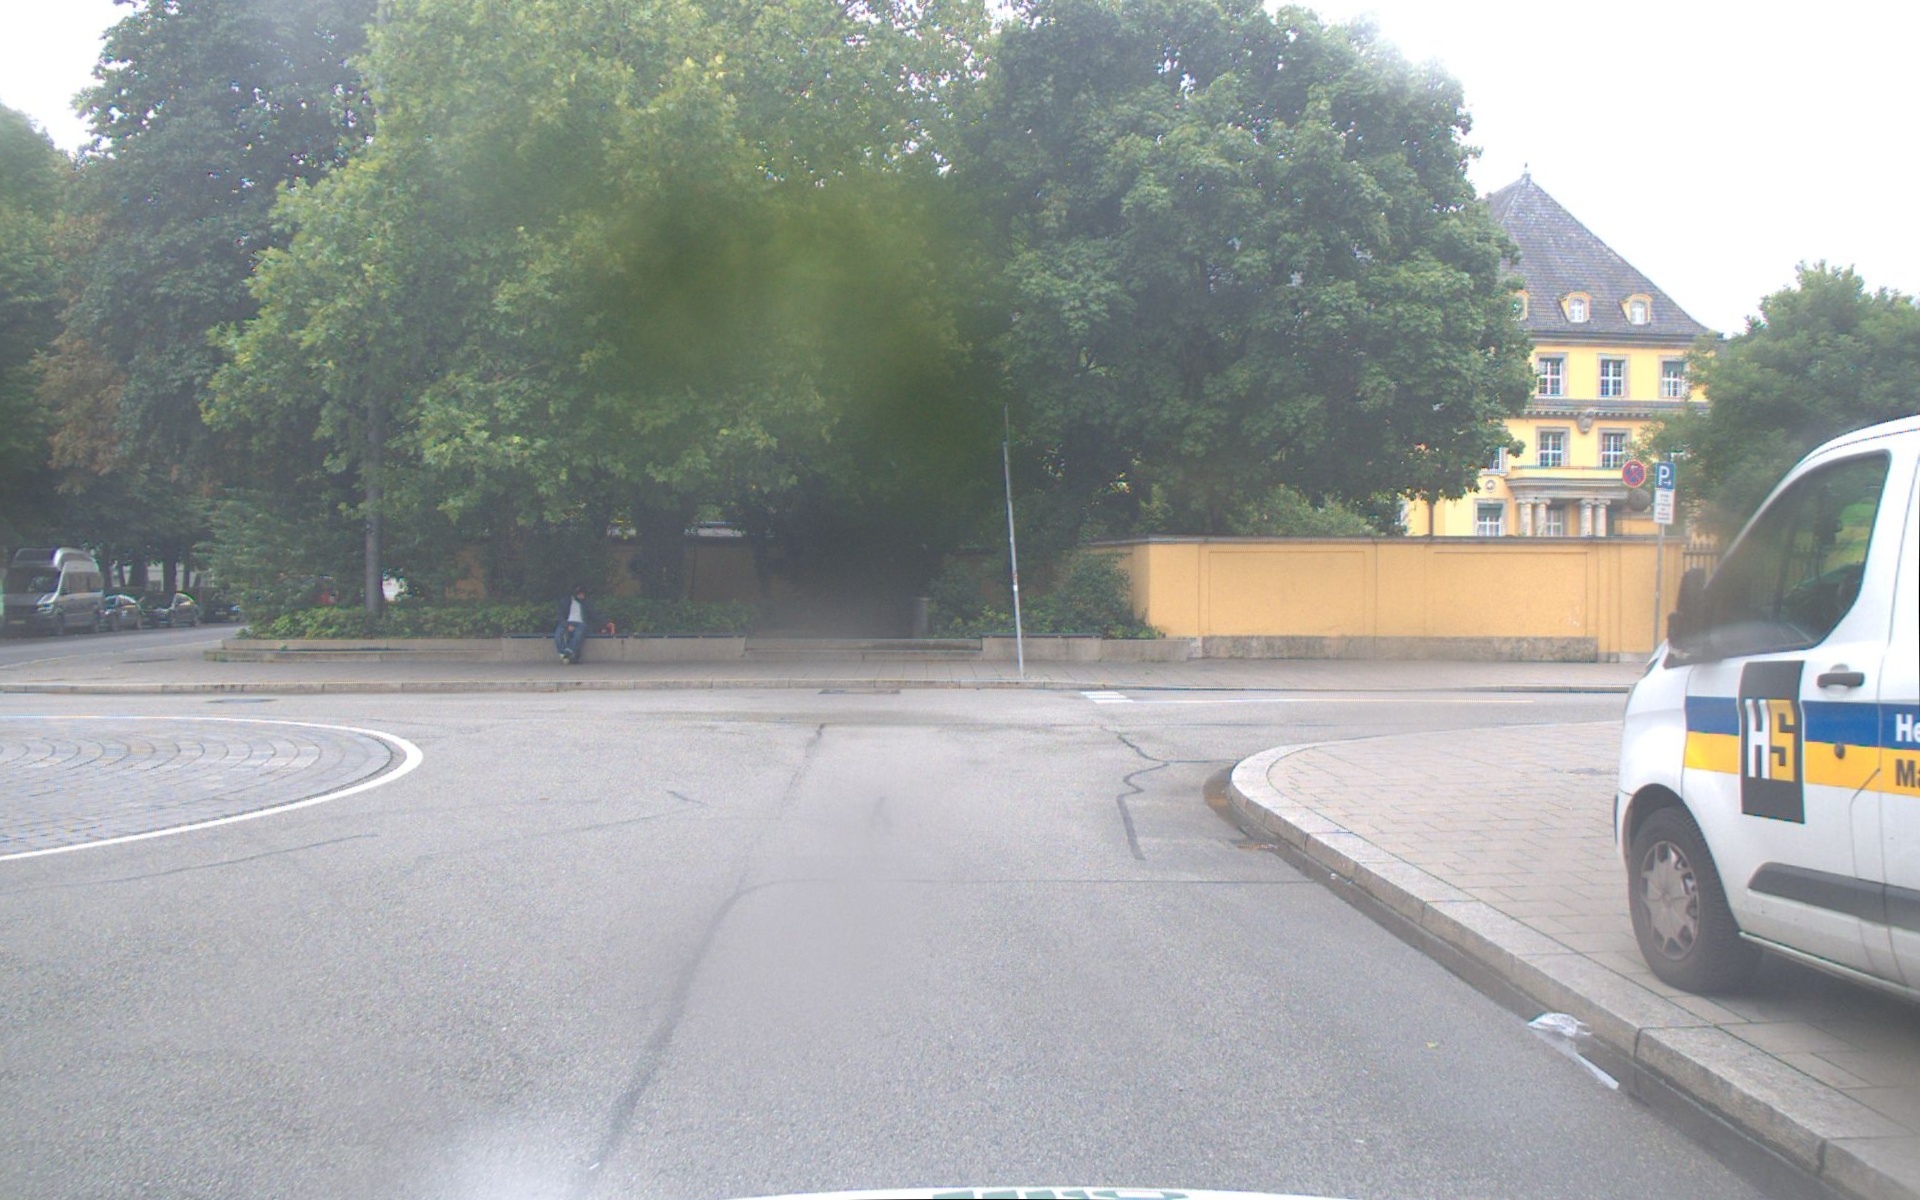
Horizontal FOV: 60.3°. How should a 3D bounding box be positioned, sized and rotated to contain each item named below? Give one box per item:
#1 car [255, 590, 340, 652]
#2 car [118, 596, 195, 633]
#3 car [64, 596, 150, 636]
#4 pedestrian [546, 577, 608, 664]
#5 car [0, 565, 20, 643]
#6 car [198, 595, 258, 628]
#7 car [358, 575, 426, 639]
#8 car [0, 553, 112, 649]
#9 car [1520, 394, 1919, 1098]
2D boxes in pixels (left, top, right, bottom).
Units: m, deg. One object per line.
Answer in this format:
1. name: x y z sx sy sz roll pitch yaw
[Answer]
1. car: -22.127 0.646 55.421 1.878 1.971 4.953 0 0 -13
2. car: -32.705 0.560 67.431 1.960 1.445 4.115 0 0 -14
3. car: -31.878 0.567 61.949 1.960 1.445 3.986 0 0 -14
4. pedestrian: -6.187 0.320 26.770 0.753 1.380 1.131 0 0 -2
5. car: -29.261 0.159 47.560 2.046 2.304 5.589 -2 1 -10
6. car: -35.652 0.532 80.628 1.960 1.513 4.115 0 0 -14
7. car: -24.287 0.274 70.930 1.958 2.603 5.416 -1 0 -11
8. car: -30.922 0.013 56.188 2.134 3.055 6.215 -1 0 -11
9. car: 3.603 0.385 4.660 1.900 1.955 5.370 -1 1 -4
